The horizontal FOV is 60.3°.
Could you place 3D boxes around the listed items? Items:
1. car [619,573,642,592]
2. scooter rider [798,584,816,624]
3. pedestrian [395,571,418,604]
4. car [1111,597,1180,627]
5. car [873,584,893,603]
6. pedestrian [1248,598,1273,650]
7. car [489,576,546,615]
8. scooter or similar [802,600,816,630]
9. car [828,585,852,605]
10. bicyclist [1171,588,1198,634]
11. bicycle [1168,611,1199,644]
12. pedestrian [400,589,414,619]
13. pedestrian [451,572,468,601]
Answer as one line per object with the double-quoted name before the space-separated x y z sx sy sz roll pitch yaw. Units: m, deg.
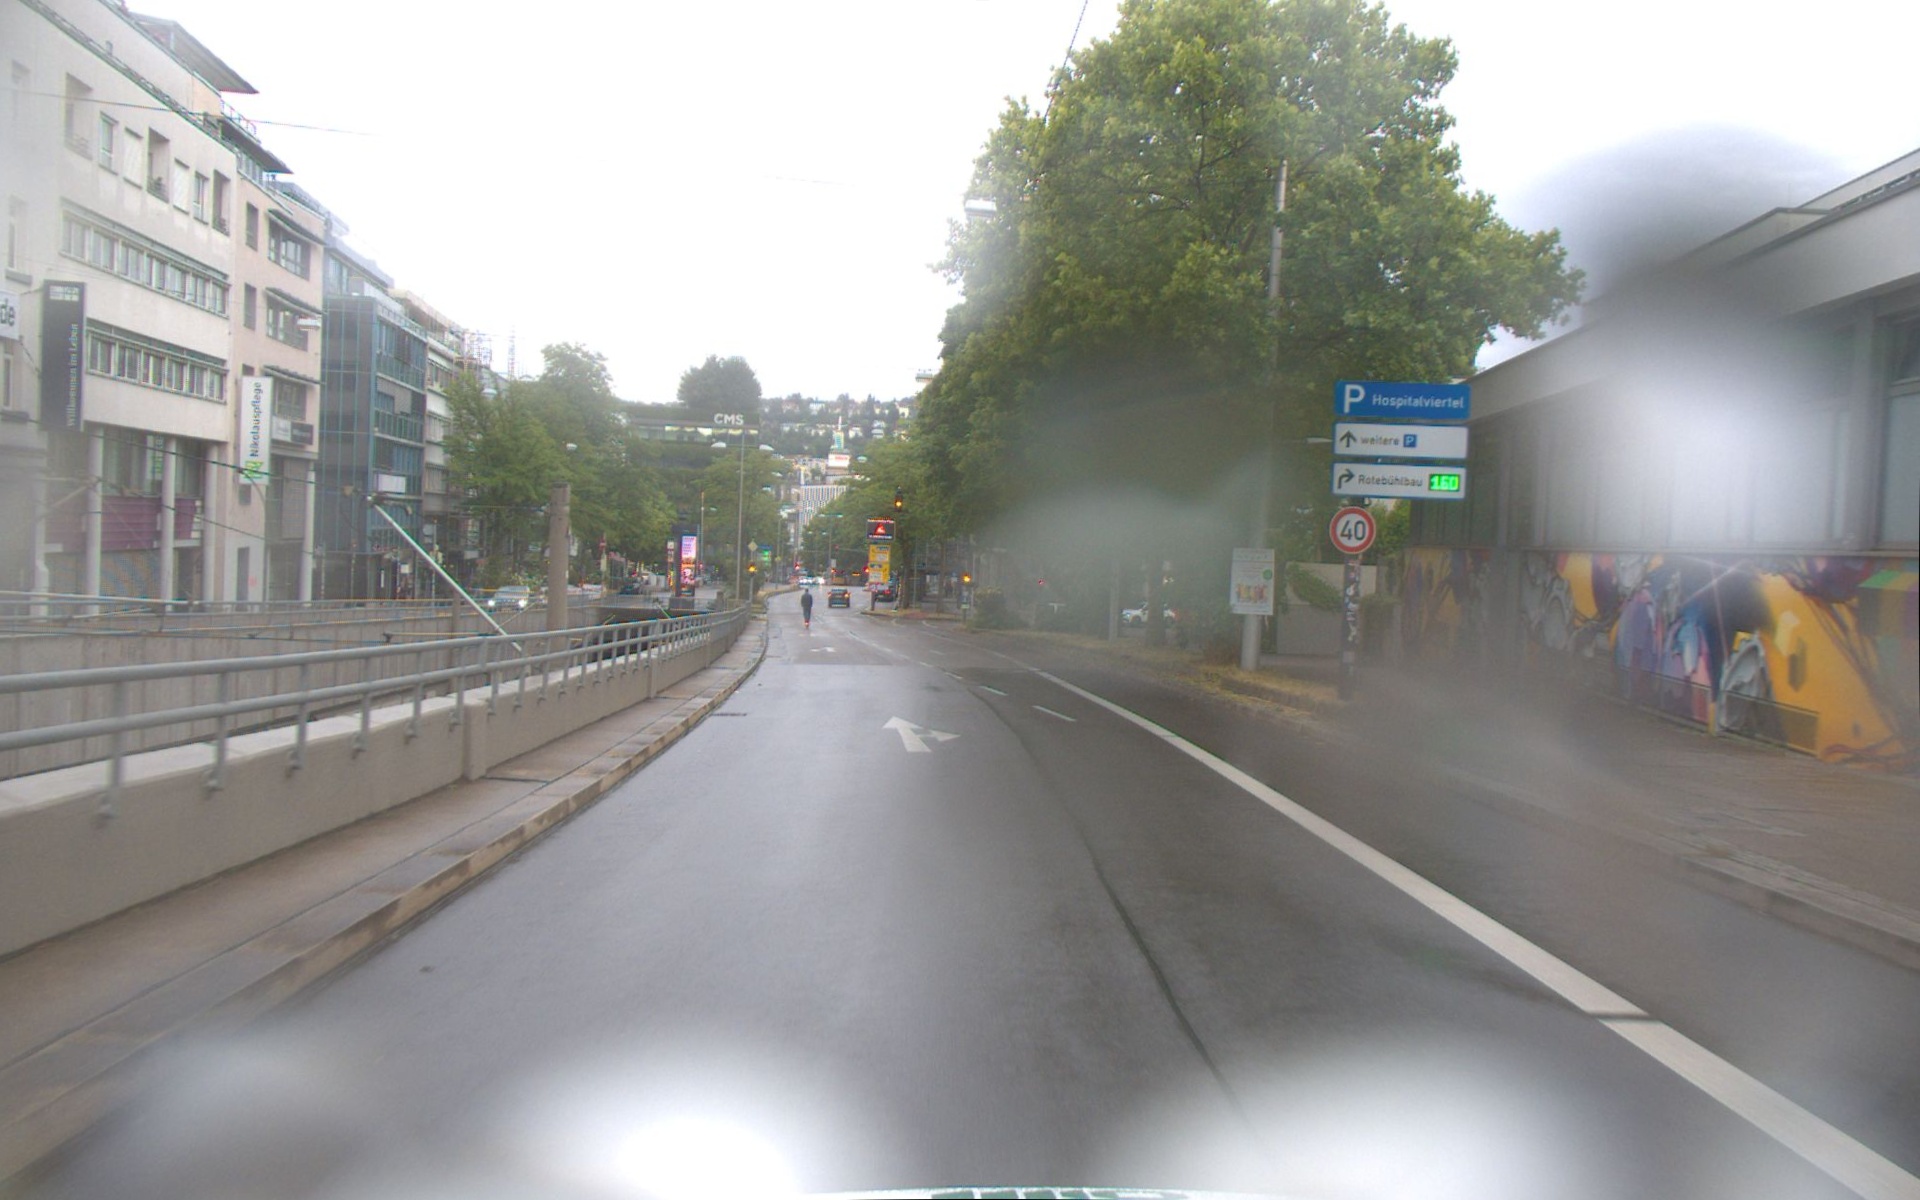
"car" -31.262 -1.643 157.011 1.747 1.582 3.888 3 2 -7
"scooter rider" -7.764 0.192 83.894 0.793 1.982 0.821 3 0 -7
"pedestrian" -32.692 -0.757 97.678 0.845 1.901 0.960 3 0 12
"car" 12.079 0.790 107.803 4.300 1.713 1.733 2 0 -32
"car" -7.416 -0.672 160.166 1.863 1.713 3.909 3 0 -3
"pedestrian" 11.131 0.890 61.270 0.790 1.897 1.056 1 0 3
"car" -20.816 -0.229 77.970 1.801 1.742 4.573 2 1 -5
"scooter or similar" -7.685 0.764 84.036 0.536 1.443 1.952 2 0 -8
"car" -9.824 -0.441 135.589 1.713 1.545 4.101 3 0 -7
"bicyclist" 8.149 0.397 60.131 0.790 1.656 1.046 2 0 0
"bicycle" 8.125 0.993 60.221 0.790 1.131 2.198 2 0 0
"pedestrian" -31.145 0.221 93.146 0.651 1.701 0.487 2 0 -8
"pedestrian" -34.045 -0.932 112.507 0.861 1.901 0.865 3 0 -9
